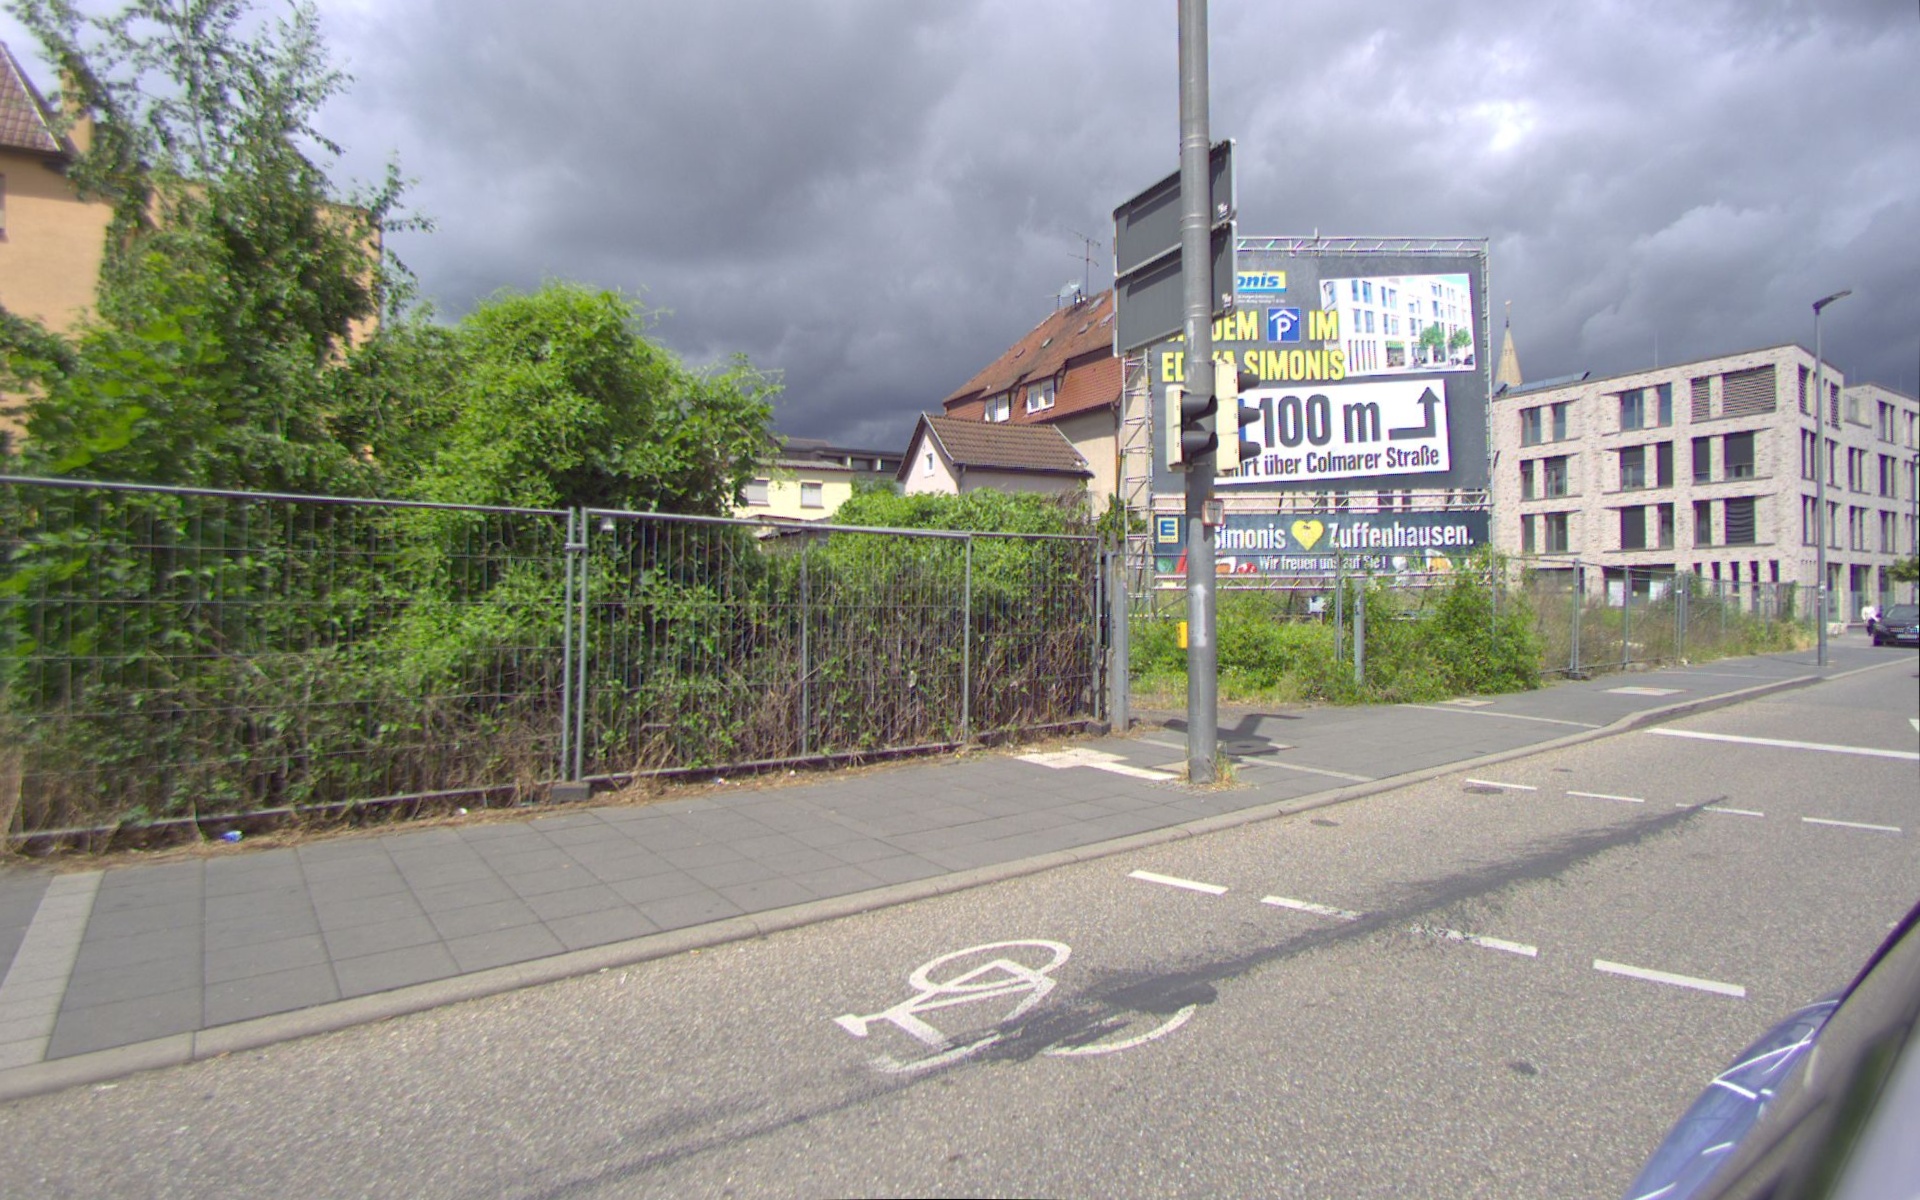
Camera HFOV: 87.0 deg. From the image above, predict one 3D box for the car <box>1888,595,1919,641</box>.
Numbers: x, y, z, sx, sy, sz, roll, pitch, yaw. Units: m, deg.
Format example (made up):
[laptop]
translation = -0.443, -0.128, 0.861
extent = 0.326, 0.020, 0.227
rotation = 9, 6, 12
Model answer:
[car]
translation = 32.731, 0.594, 34.020
extent = 3.726, 1.441, 1.678
rotation = -1, 2, -39

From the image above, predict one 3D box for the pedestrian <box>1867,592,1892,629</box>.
[pedestrian]
translation = 38.974, 0.448, 42.888
extent = 0.769, 1.531, 0.673
rotation = 1, 0, -41
